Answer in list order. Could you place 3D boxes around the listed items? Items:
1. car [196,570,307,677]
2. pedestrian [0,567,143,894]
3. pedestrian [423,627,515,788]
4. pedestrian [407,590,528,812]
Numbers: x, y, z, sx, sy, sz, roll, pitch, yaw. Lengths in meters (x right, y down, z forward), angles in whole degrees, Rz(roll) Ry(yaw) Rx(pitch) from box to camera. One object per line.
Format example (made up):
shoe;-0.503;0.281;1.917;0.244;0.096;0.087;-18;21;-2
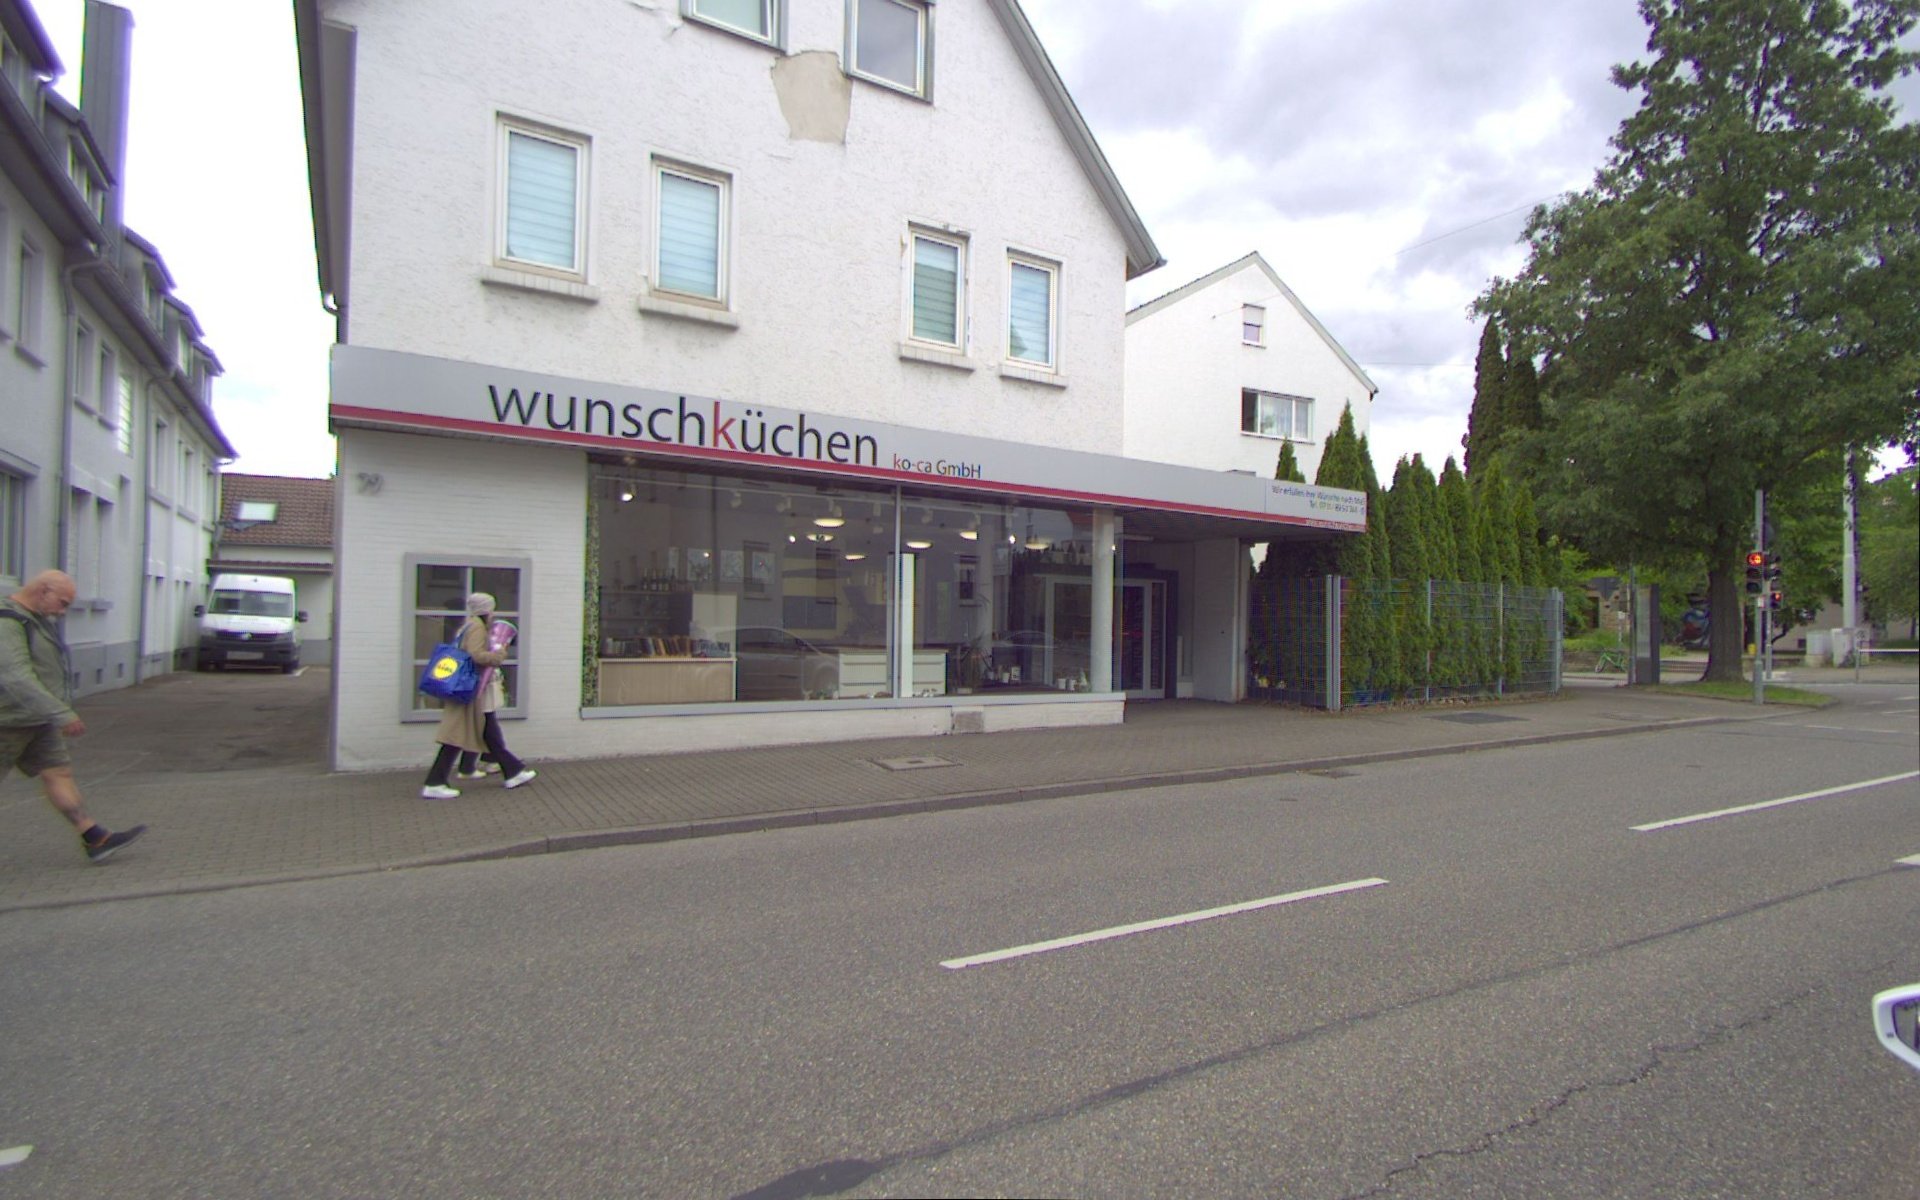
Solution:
car;-19.064;0.590;27.252;1.938;2.541;5.943;4;-2;-32
pedestrian;-5.413;0.703;5.753;1.008;1.767;0.747;1;1;-31
pedestrian;-4.236;0.894;8.660;0.647;1.297;0.596;1;1;-31
pedestrian;-3.937;0.762;8.009;0.784;1.638;0.747;1;2;-31
